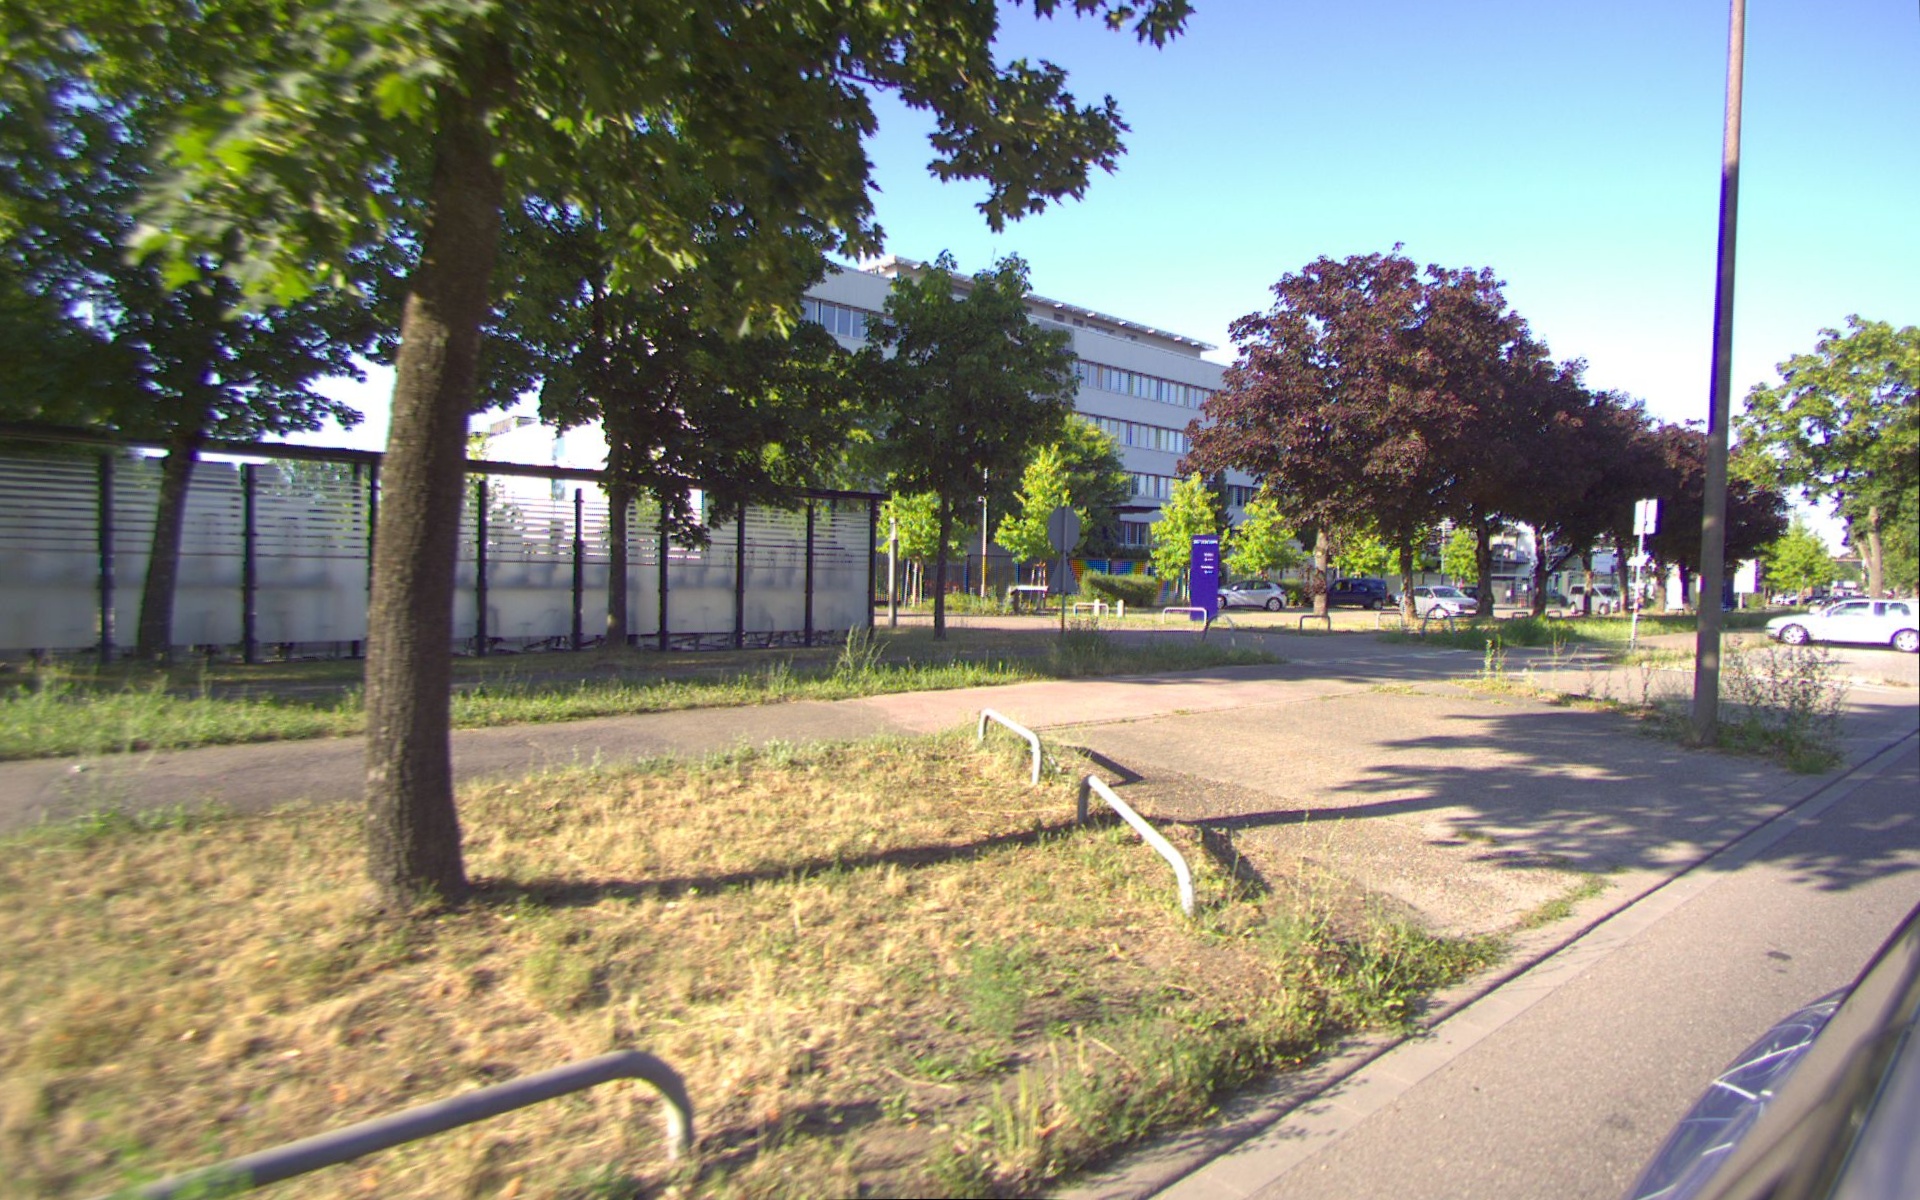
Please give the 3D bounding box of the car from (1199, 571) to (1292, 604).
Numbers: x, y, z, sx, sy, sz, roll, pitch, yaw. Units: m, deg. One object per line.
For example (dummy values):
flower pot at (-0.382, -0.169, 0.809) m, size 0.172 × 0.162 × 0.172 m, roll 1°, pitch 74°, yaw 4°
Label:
car at (14.341, -0.646, 51.009) m, size 4.232 × 1.546 × 1.764 m, roll 2°, pitch 1°, yaw 8°

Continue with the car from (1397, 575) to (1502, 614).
car at (21.633, -0.286, 44.955) m, size 1.960 × 1.593 × 4.959 m, roll 1°, pitch 2°, yaw -4°

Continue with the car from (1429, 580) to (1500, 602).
car at (34.609, -0.640, 69.519) m, size 3.931 × 1.371 × 1.804 m, roll 1°, pitch 2°, yaw 6°

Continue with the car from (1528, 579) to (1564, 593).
car at (66.859, -1.560, 115.378) m, size 4.477 × 1.449 × 2.037 m, roll 0°, pitch 2°, yaw -39°

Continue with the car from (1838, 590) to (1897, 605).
car at (97.581, -0.295, 108.879) m, size 4.469 × 1.421 × 2.008 m, roll 3°, pitch 2°, yaw 36°

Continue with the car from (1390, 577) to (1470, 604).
car at (30.086, -0.627, 64.911) m, size 4.243 × 1.547 × 1.802 m, roll 2°, pitch 1°, yaw 10°

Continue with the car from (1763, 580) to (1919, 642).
car at (26.226, 0.290, 29.176) m, size 1.961 × 1.497 × 4.378 m, roll 0°, pitch 4°, yaw -33°

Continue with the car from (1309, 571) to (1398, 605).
car at (22.581, -0.714, 58.223) m, size 4.417 × 1.771 × 1.765 m, roll 2°, pitch 1°, yaw 6°

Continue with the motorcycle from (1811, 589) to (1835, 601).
motorcycle at (112.330, -0.652, 131.724) m, size 2.104 × 1.484 × 0.943 m, roll 3°, pitch 2°, yaw 20°

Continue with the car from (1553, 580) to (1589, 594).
car at (68.650, -1.456, 113.706) m, size 4.477 × 1.449 × 2.037 m, roll 0°, pitch 2°, yaw -39°

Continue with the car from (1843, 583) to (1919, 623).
car at (40.748, 0.174, 42.685) m, size 5.178 × 1.593 × 2.123 m, roll 3°, pitch 2°, yaw 45°

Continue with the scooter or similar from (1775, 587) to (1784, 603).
scooter or similar at (67.020, -0.390, 82.728) m, size 0.519 × 1.288 × 1.367 m, roll 2°, pitch 2°, yaw 40°

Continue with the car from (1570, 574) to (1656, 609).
car at (38.197, -0.495, 59.374) m, size 1.964 × 1.958 × 4.950 m, roll 1°, pitch 0°, yaw 3°
